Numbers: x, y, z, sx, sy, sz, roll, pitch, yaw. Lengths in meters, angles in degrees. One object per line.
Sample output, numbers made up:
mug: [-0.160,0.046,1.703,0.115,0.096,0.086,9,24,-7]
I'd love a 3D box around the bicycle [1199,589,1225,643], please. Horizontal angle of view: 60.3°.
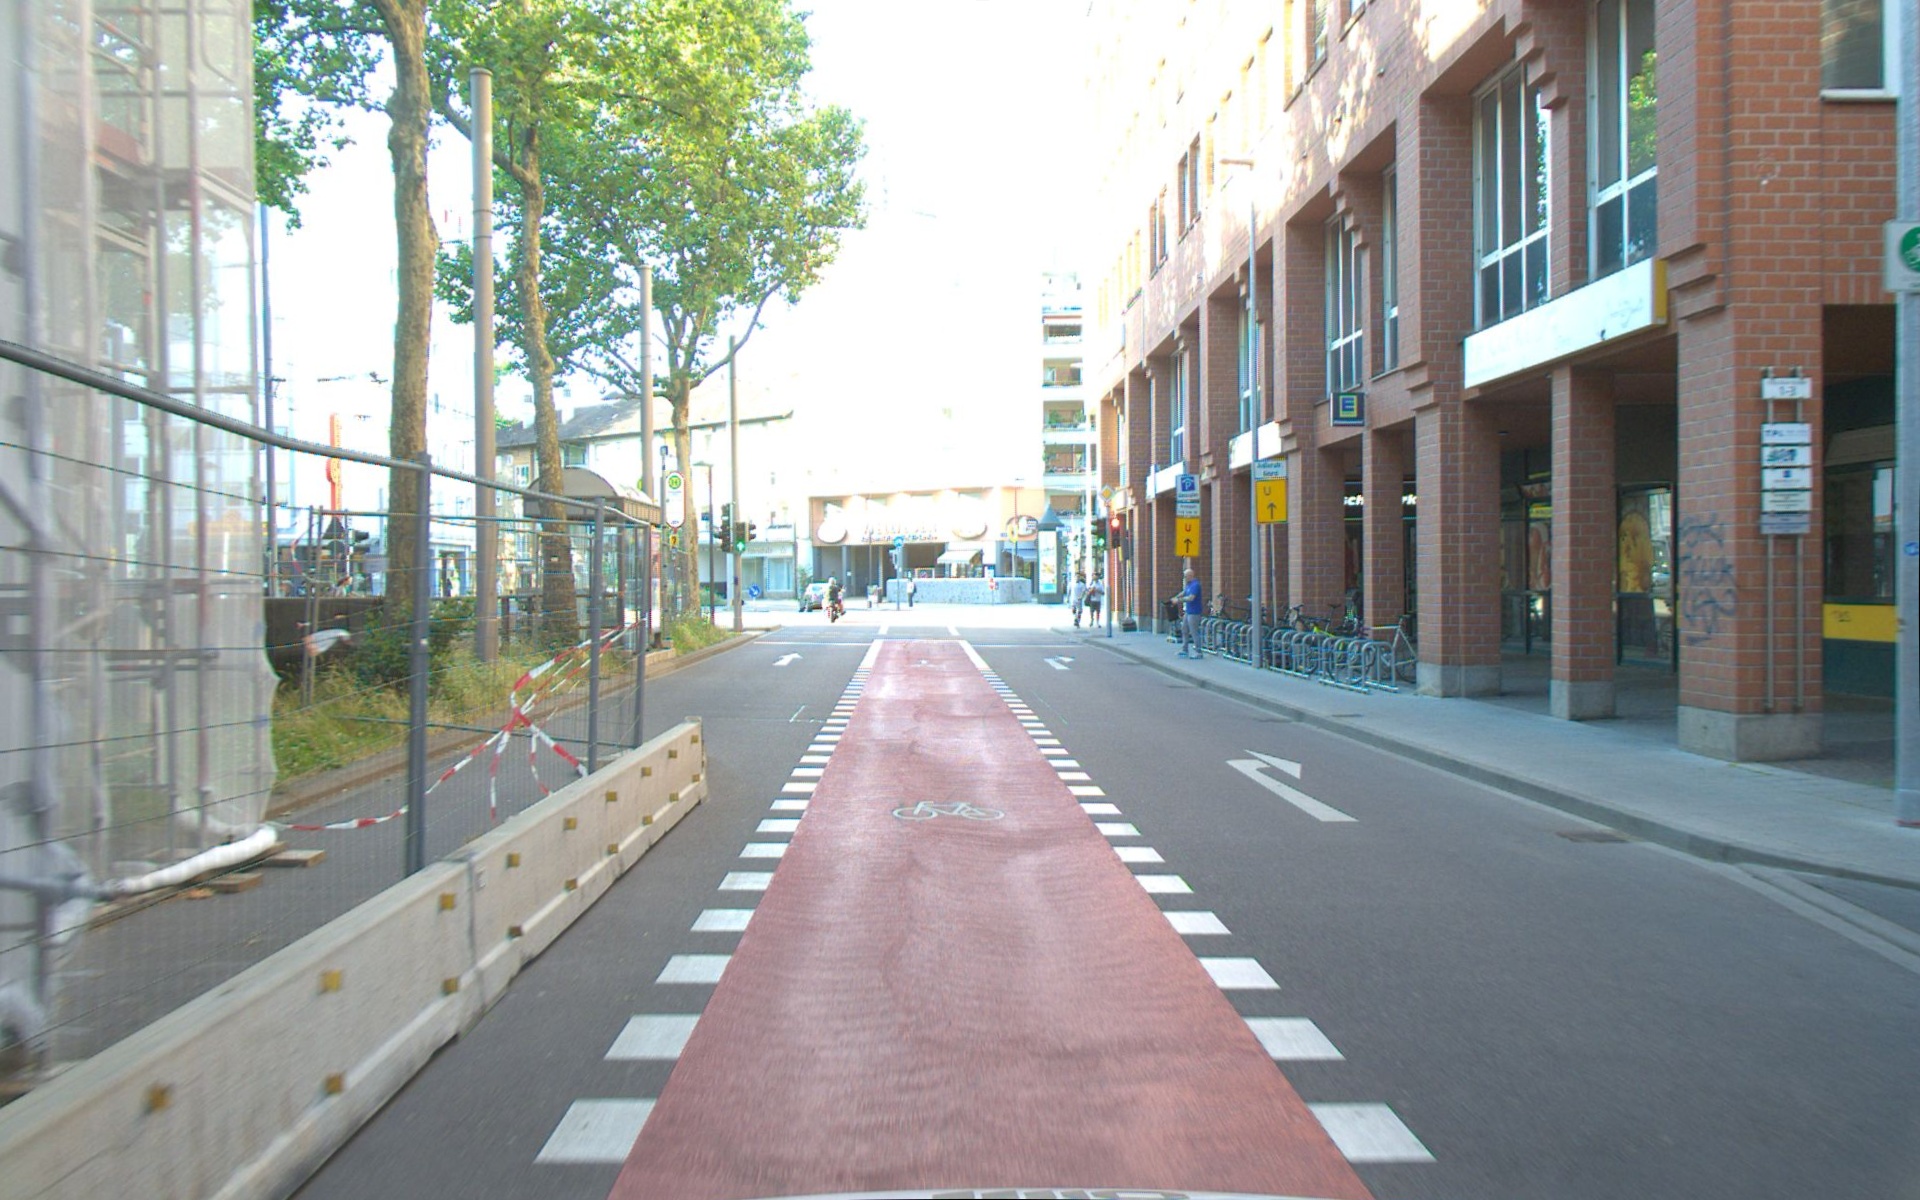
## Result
bicycle: [5.808,0.349,38.145,0.332,1.204,1.678,0,1,0]

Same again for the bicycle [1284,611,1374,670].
bicycle: [5.892,0.647,26.453,1.307,0.856,0.425,-3,1,0]

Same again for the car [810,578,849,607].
car: [-6.435,-0.389,81.784,1.885,1.413,3.997,0,1,-4]

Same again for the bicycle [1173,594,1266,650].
bicycle: [5.426,0.450,34.616,1.853,1.138,0.474,-1,0,-2]

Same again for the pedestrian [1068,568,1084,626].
pedestrian: [3.725,-0.100,52.996,0.466,1.824,0.541,0,0,-2]

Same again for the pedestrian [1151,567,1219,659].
pedestrian: [4.408,0.250,32.499,1.170,1.726,0.885,-2,1,1]

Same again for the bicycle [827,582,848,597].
bicycle: [-8.644,-0.736,116.609,1.610,1.056,0.493,2,0,44]

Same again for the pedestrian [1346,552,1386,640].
pedestrian: [8.521,-0.089,34.728,0.646,1.827,0.608,0,0,-6]

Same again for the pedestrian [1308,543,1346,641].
pedestrian: [7.782,-0.176,35.082,0.596,2.049,0.660,0,0,-8]

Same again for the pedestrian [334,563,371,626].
pedestrian: [-17.044,-0.159,46.416,0.762,1.764,0.848,0,0,-5]

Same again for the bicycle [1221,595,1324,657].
bicycle: [5.896,0.489,31.256,1.853,1.138,0.474,-1,0,-2]

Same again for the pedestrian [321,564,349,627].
pedestrian: [-17.232,-0.125,45.601,0.555,1.709,0.531,0,0,-1]

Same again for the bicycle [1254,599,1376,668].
bicycle: [5.946,0.557,27.764,1.893,1.075,0.573,-2,0,1]

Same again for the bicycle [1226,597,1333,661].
bicycle: [5.895,0.525,30.517,1.853,1.138,0.550,-1,0,-2]

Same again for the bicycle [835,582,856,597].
bicycle: [-8.125,-0.735,117.118,1.610,1.056,0.493,2,0,44]

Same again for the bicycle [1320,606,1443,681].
bicycle: [6.028,0.618,23.705,1.578,0.971,0.555,-3,1,0]

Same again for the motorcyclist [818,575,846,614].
motorcyclist: [-4.634,-0.206,59.805,0.951,1.370,1.137,1,0,-3]

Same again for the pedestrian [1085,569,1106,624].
pedestrian: [4.321,-0.122,52.785,0.621,1.755,0.630,0,1,-2]

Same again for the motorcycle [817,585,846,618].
motorcycle: [-4.634,0.045,59.853,0.953,1.151,2.804,1,1,-2]

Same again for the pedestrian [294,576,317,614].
pedestrian: [-30.799,-0.232,77.862,0.789,1.754,0.776,0,0,-1]

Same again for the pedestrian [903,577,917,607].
pedestrian: [-2.739,-0.454,90.989,0.537,1.611,0.548,-1,1,-45]
